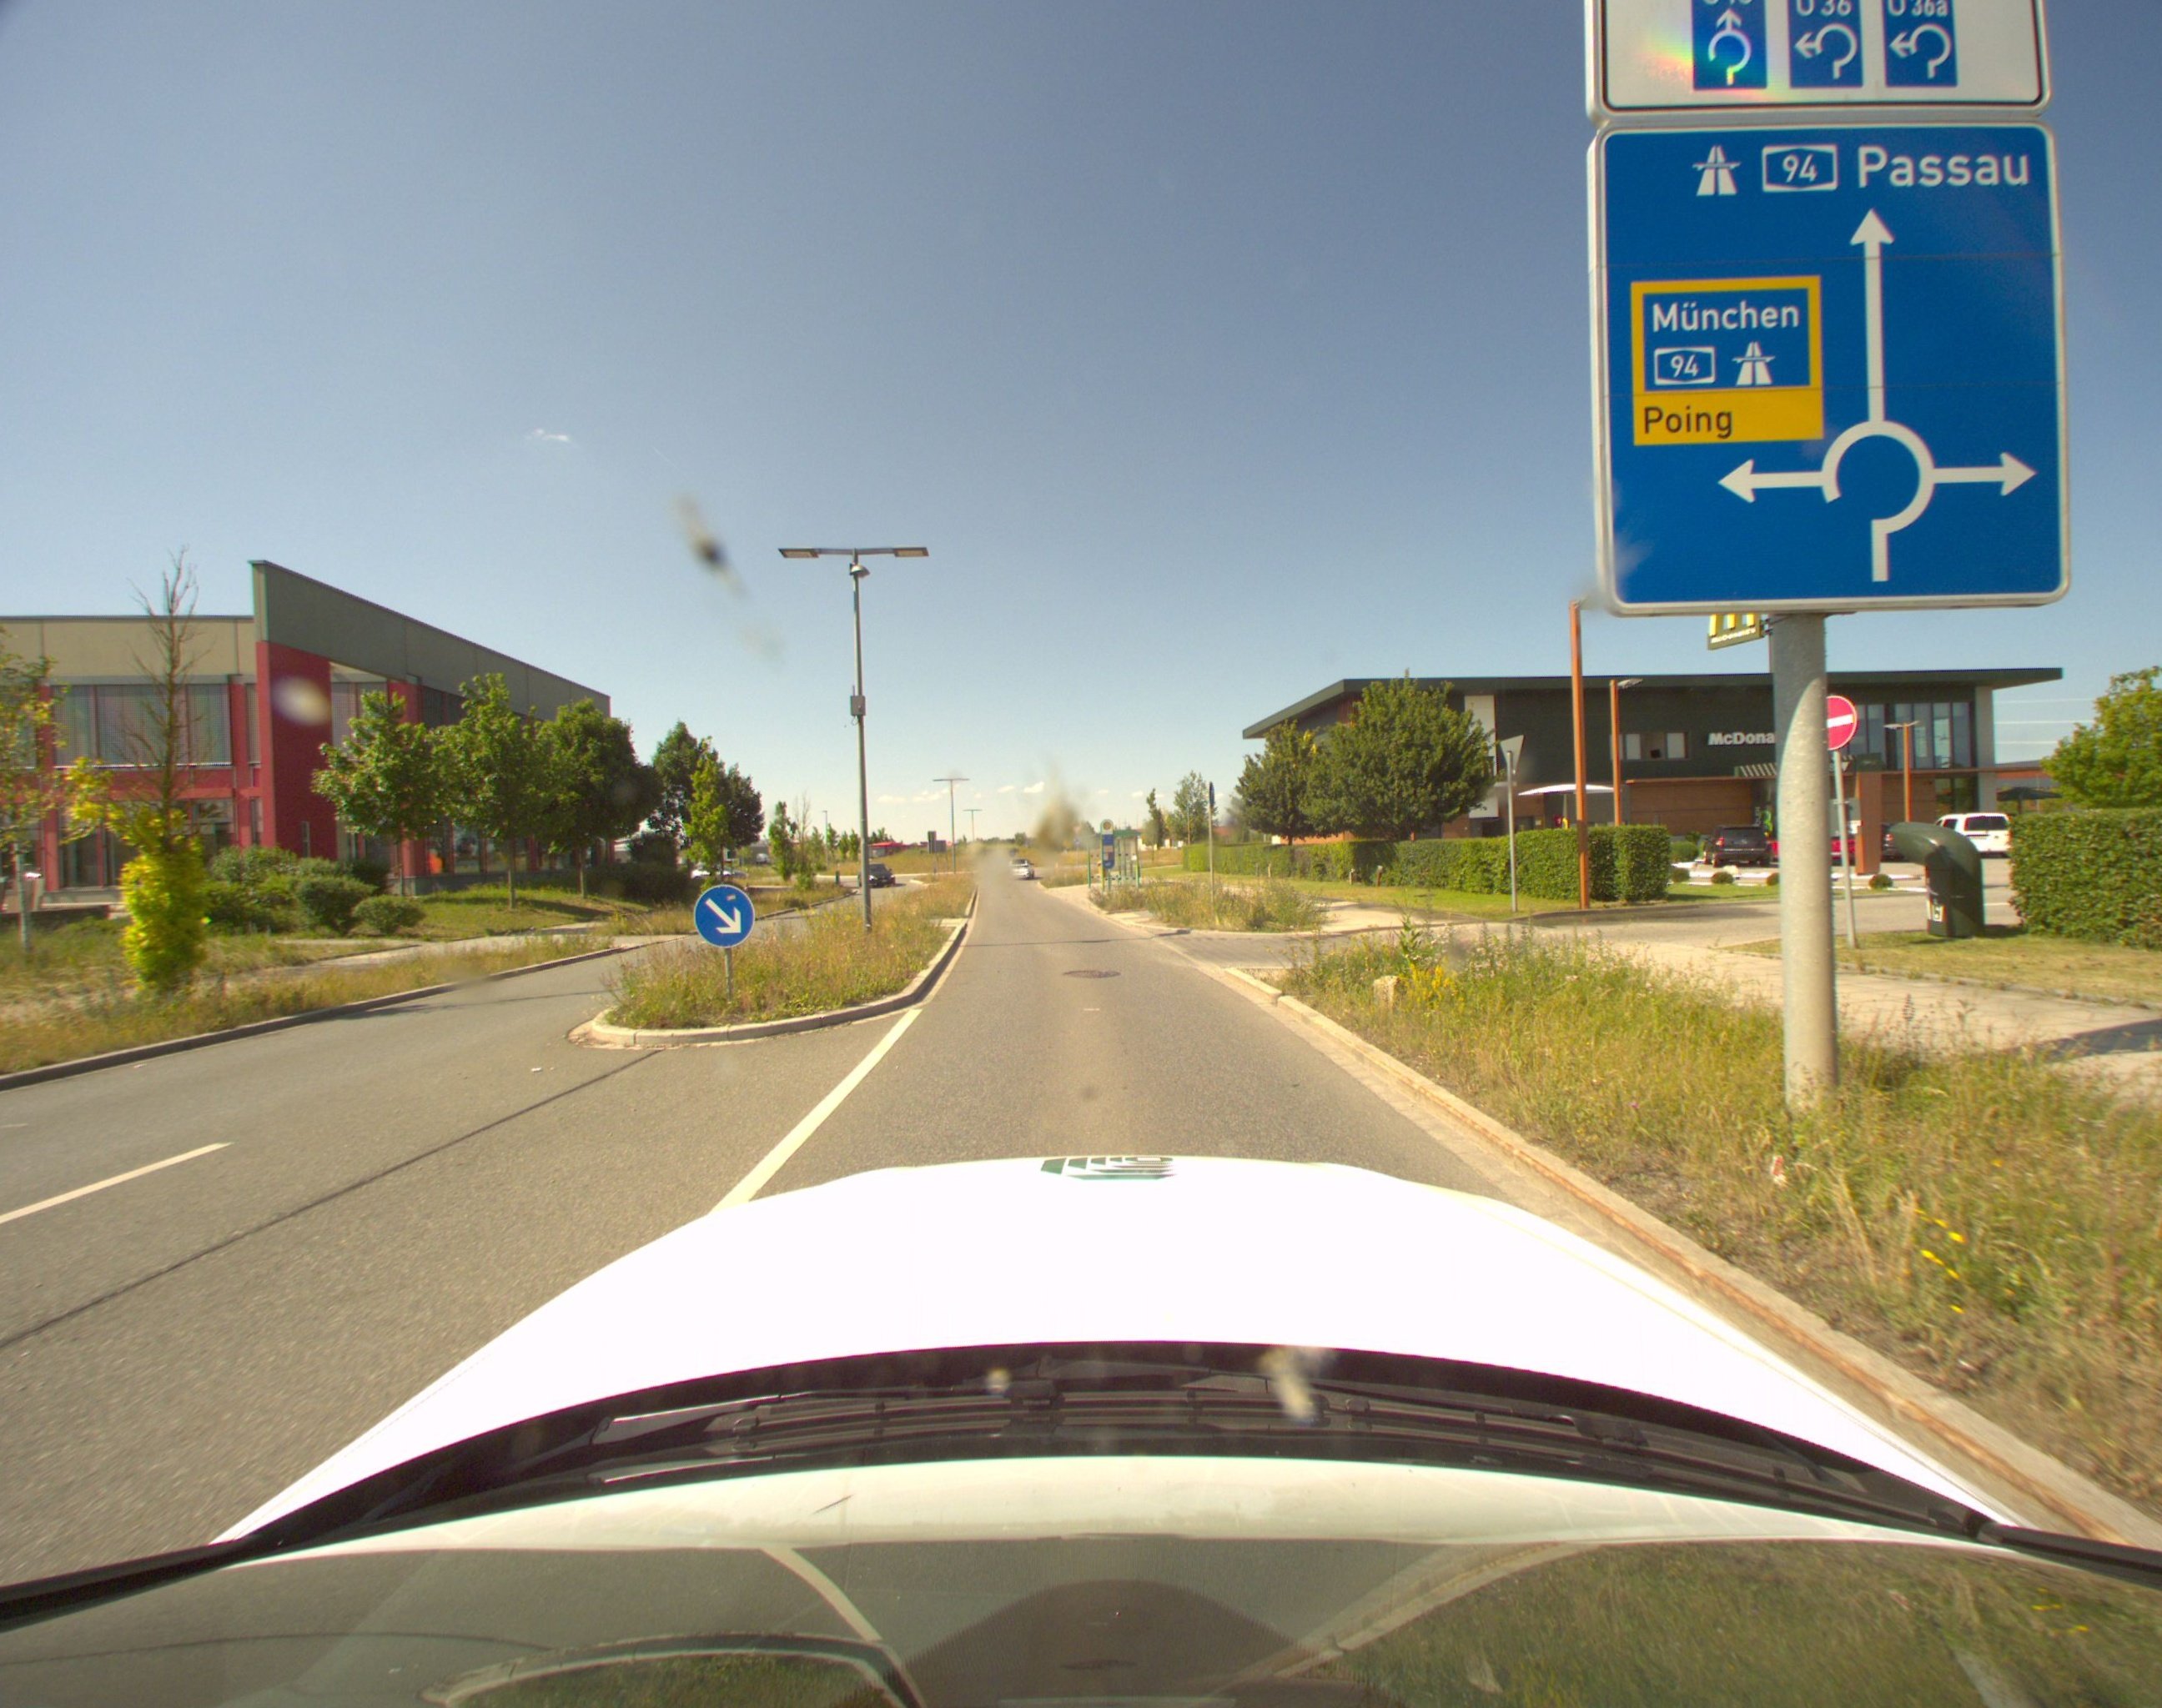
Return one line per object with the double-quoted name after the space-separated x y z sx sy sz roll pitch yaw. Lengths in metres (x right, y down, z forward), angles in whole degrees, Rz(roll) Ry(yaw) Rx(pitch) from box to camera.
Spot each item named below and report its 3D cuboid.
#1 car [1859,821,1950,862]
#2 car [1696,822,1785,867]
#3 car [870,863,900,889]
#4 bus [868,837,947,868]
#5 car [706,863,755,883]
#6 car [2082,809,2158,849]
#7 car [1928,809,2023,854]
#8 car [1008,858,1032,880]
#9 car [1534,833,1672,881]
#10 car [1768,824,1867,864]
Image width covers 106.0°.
33.043 -0.501 32.811 1.775 1.513 4.026 -3 -1 34 "car"
26.329 -0.372 32.658 1.776 1.604 4.023 -3 0 25 "car"
-13.203 1.436 54.871 1.761 1.543 4.220 -4 0 -14 "car"
-20.658 -0.293 98.181 2.762 3.078 12.272 -3 2 23 "bus"
-30.790 1.652 71.463 4.565 1.626 1.976 -1 2 39 "car"
43.545 -1.039 34.215 4.021 1.520 1.777 -2 -1 -40 "car"
36.897 -0.916 33.707 1.775 1.702 4.026 -3 -1 35 "car"
-4.281 1.044 57.650 1.613 1.434 3.788 -2 0 -3 "car"
17.577 0.118 27.671 1.790 1.434 3.991 -2 0 -6 "car"
29.543 -0.389 32.796 1.776 1.434 4.023 -3 0 25 "car"
